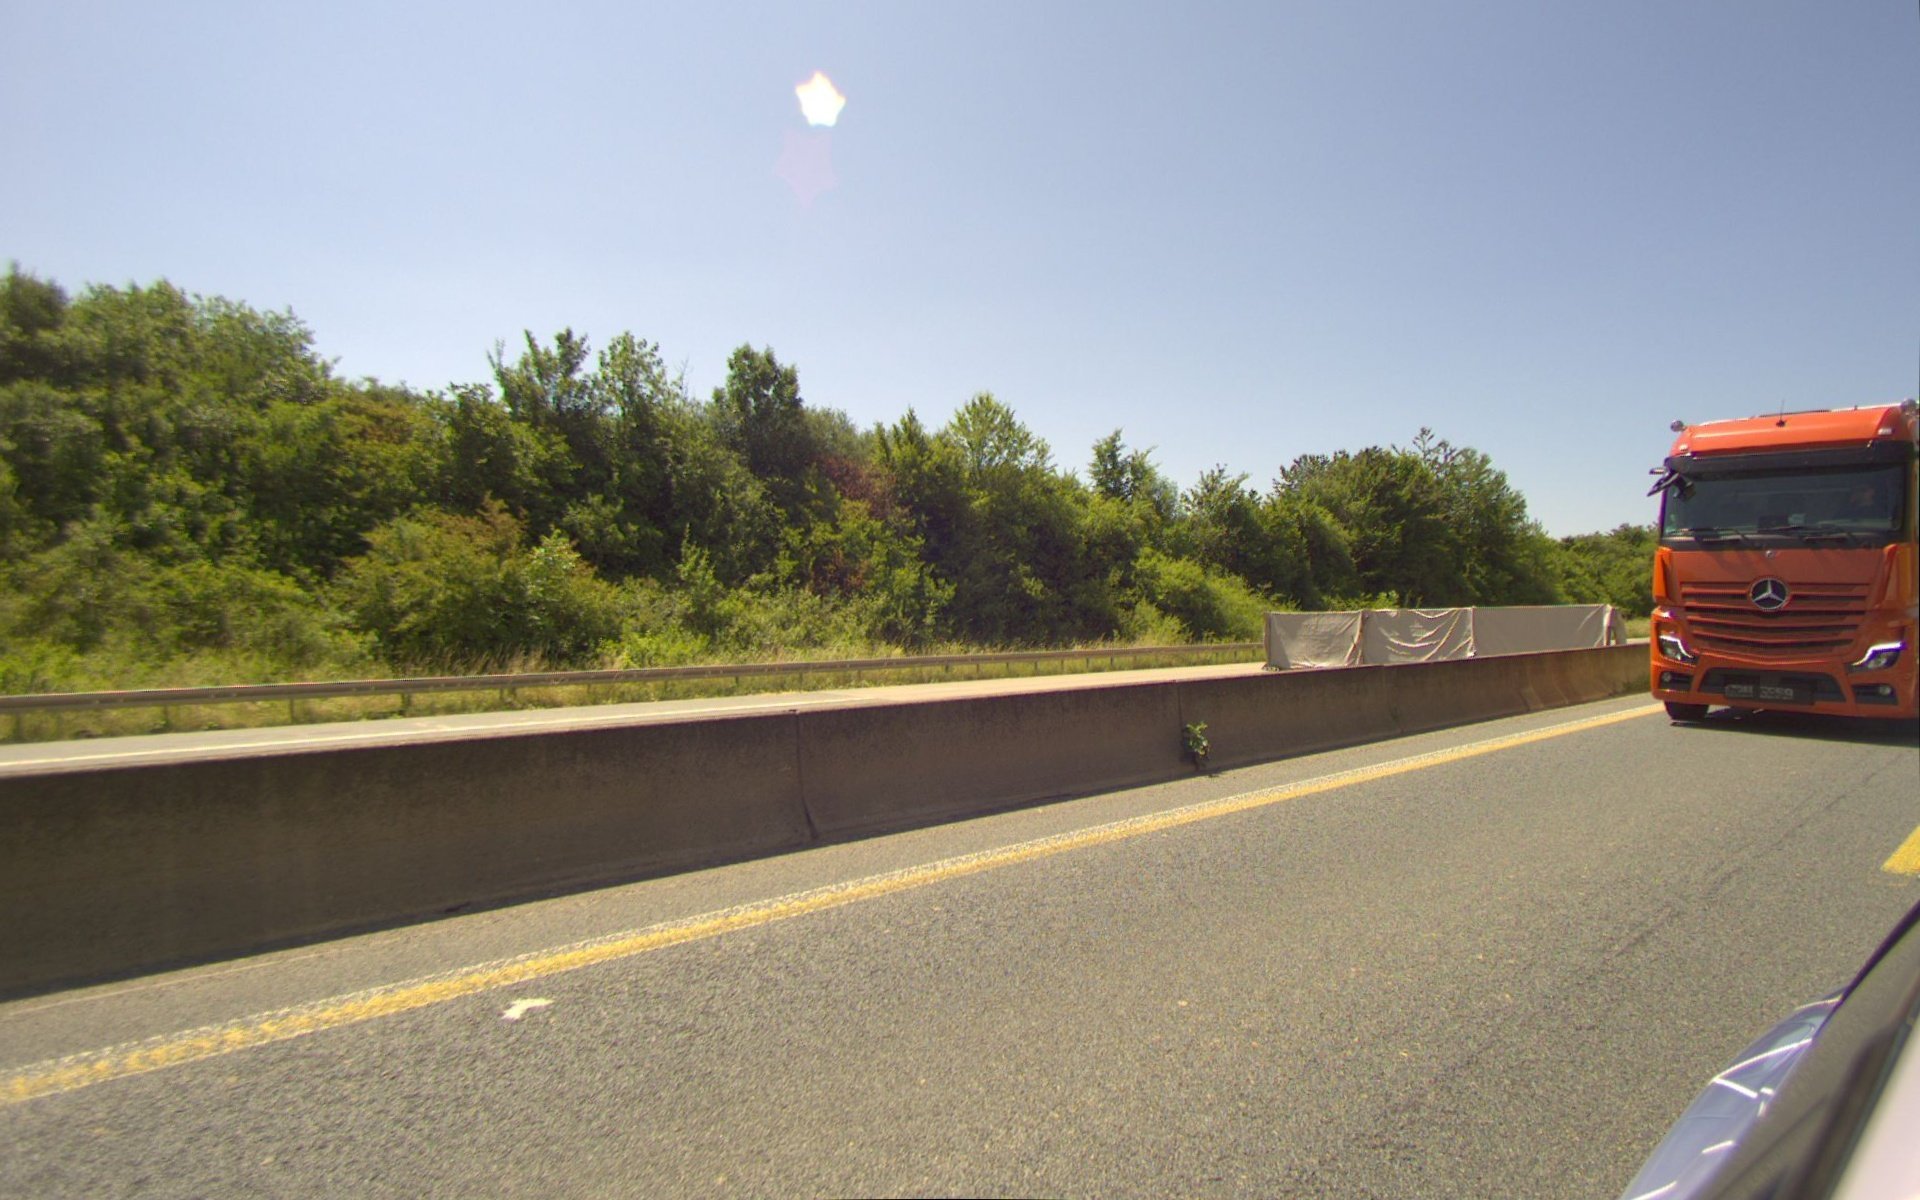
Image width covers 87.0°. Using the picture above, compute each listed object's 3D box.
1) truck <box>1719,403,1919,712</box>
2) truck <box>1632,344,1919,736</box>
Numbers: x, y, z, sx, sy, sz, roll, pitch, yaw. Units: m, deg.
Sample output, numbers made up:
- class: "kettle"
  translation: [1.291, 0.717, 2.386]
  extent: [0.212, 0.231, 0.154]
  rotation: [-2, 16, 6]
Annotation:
- class: "truck"
  translation: [16.983, -0.585, 18.216]
  extent: [12.989, 4.061, 2.686]
  rotation: [0, 0, -41]
- class: "truck"
  translation: [11.667, -0.573, 13.594]
  extent: [6.606, 4.061, 2.687]
  rotation: [1, -1, -40]
